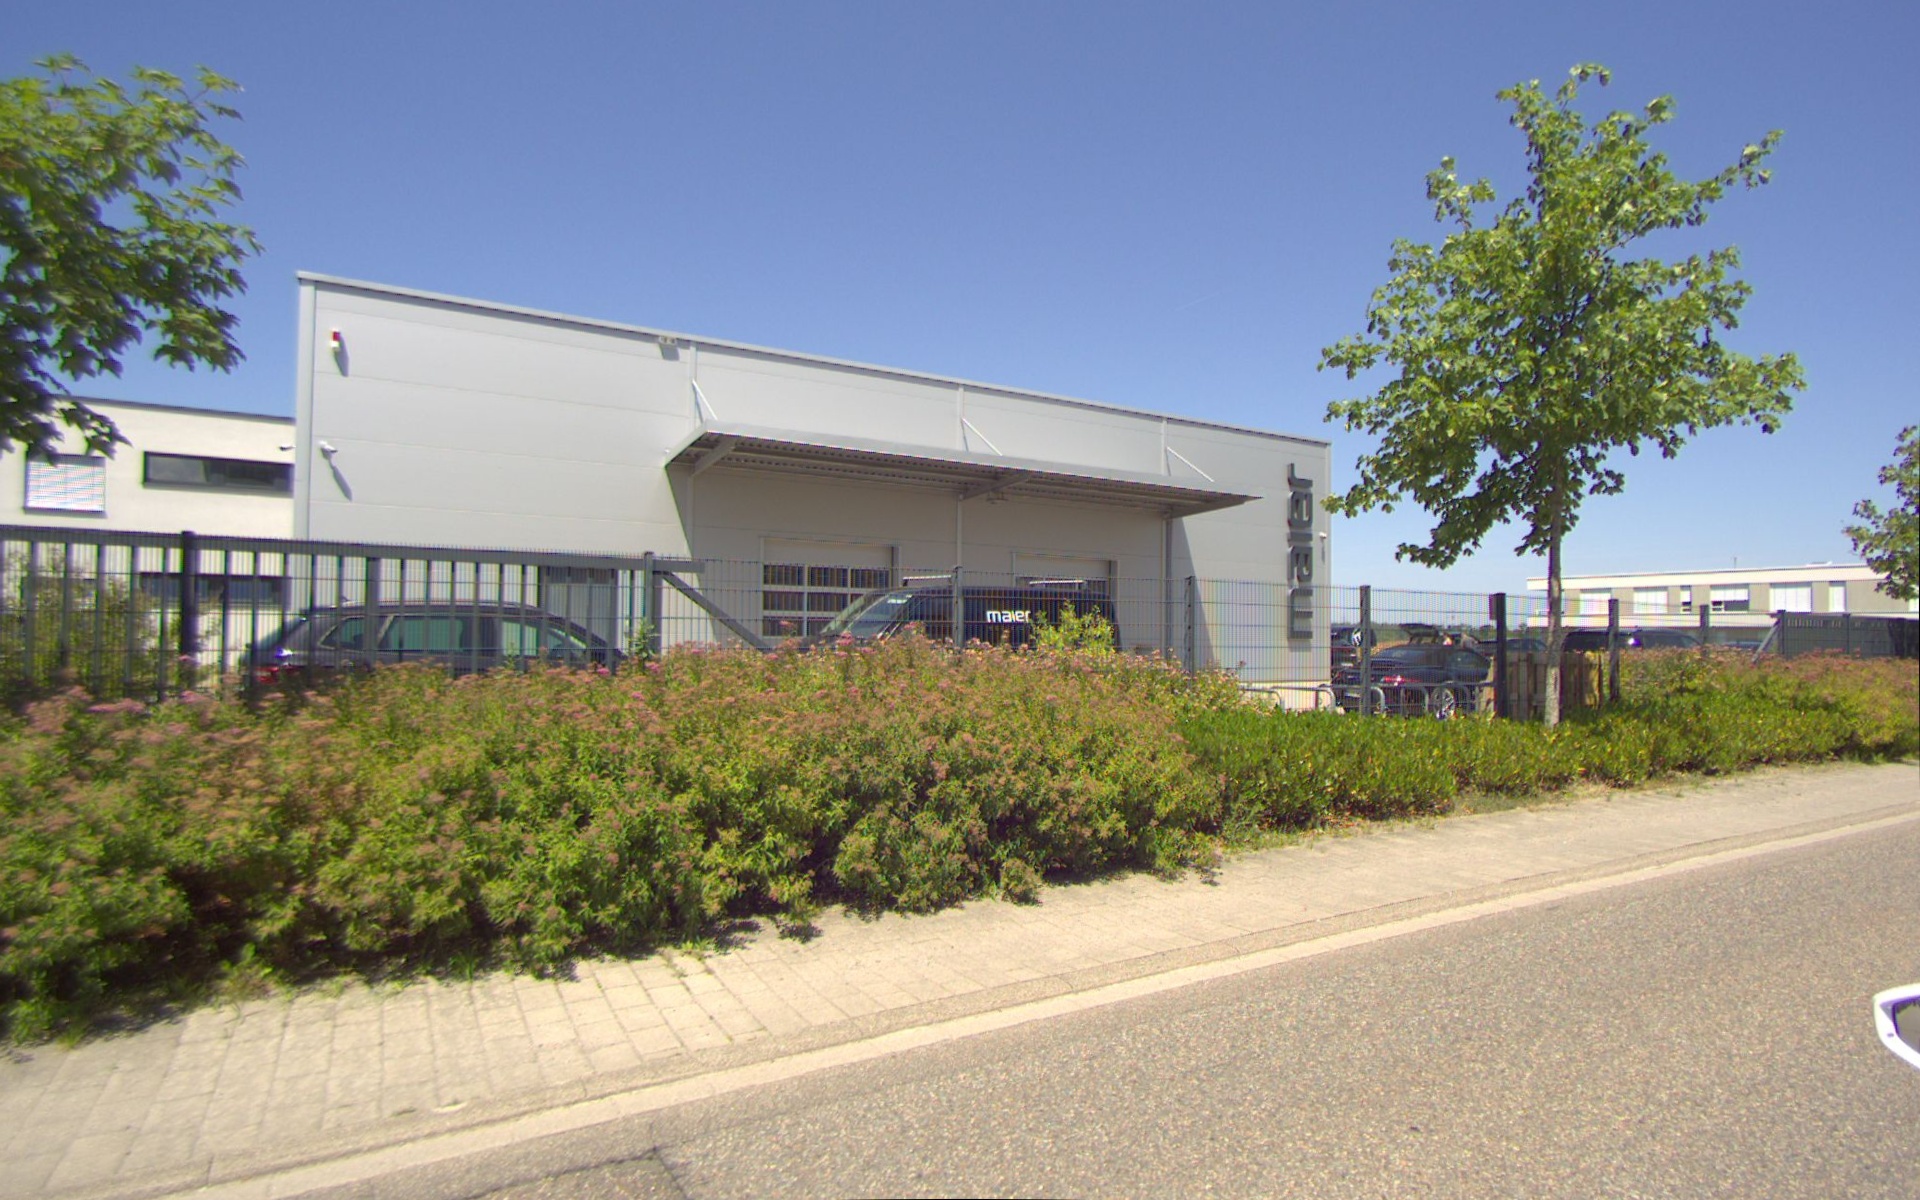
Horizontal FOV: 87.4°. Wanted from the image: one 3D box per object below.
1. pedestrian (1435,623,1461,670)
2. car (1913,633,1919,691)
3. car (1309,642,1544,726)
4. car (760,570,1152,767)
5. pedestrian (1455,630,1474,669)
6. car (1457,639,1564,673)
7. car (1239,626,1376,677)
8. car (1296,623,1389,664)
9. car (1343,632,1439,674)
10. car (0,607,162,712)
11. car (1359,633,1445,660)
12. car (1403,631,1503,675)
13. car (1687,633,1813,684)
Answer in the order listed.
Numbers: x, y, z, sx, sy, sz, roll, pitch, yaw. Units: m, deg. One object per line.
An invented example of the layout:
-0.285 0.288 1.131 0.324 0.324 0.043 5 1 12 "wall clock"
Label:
17.662 1.674 36.355 0.770 1.650 0.613 2 -2 -44 "pedestrian"
27.216 1.662 26.967 2.965 1.540 1.690 2 -2 -33 "car"
8.181 1.403 17.570 3.952 1.297 1.788 1 -2 -29 "car"
0.002 0.795 12.881 4.636 2.126 1.992 2 0 -29 "car"
18.487 1.804 36.789 0.493 1.432 0.484 2 -2 -44 "pedestrian"
19.705 1.992 35.915 3.719 1.149 1.815 2 -2 -33 "car"
10.660 1.552 31.057 1.775 1.439 3.843 2 -2 -28 "car"
16.138 1.829 42.371 3.957 1.627 1.662 2 -1 -33 "car"
17.285 2.098 40.235 3.957 1.626 1.662 1 -2 -33 "car"
-14.711 0.906 16.413 1.976 1.517 4.071 1 -2 -30 "car"
20.069 2.093 45.579 3.719 1.149 1.815 2 -2 -33 "car"
18.974 2.019 38.647 3.957 1.626 1.662 2 -2 -33 "car"
23.800 1.726 30.232 3.957 1.459 1.791 2 -2 -33 "car"
